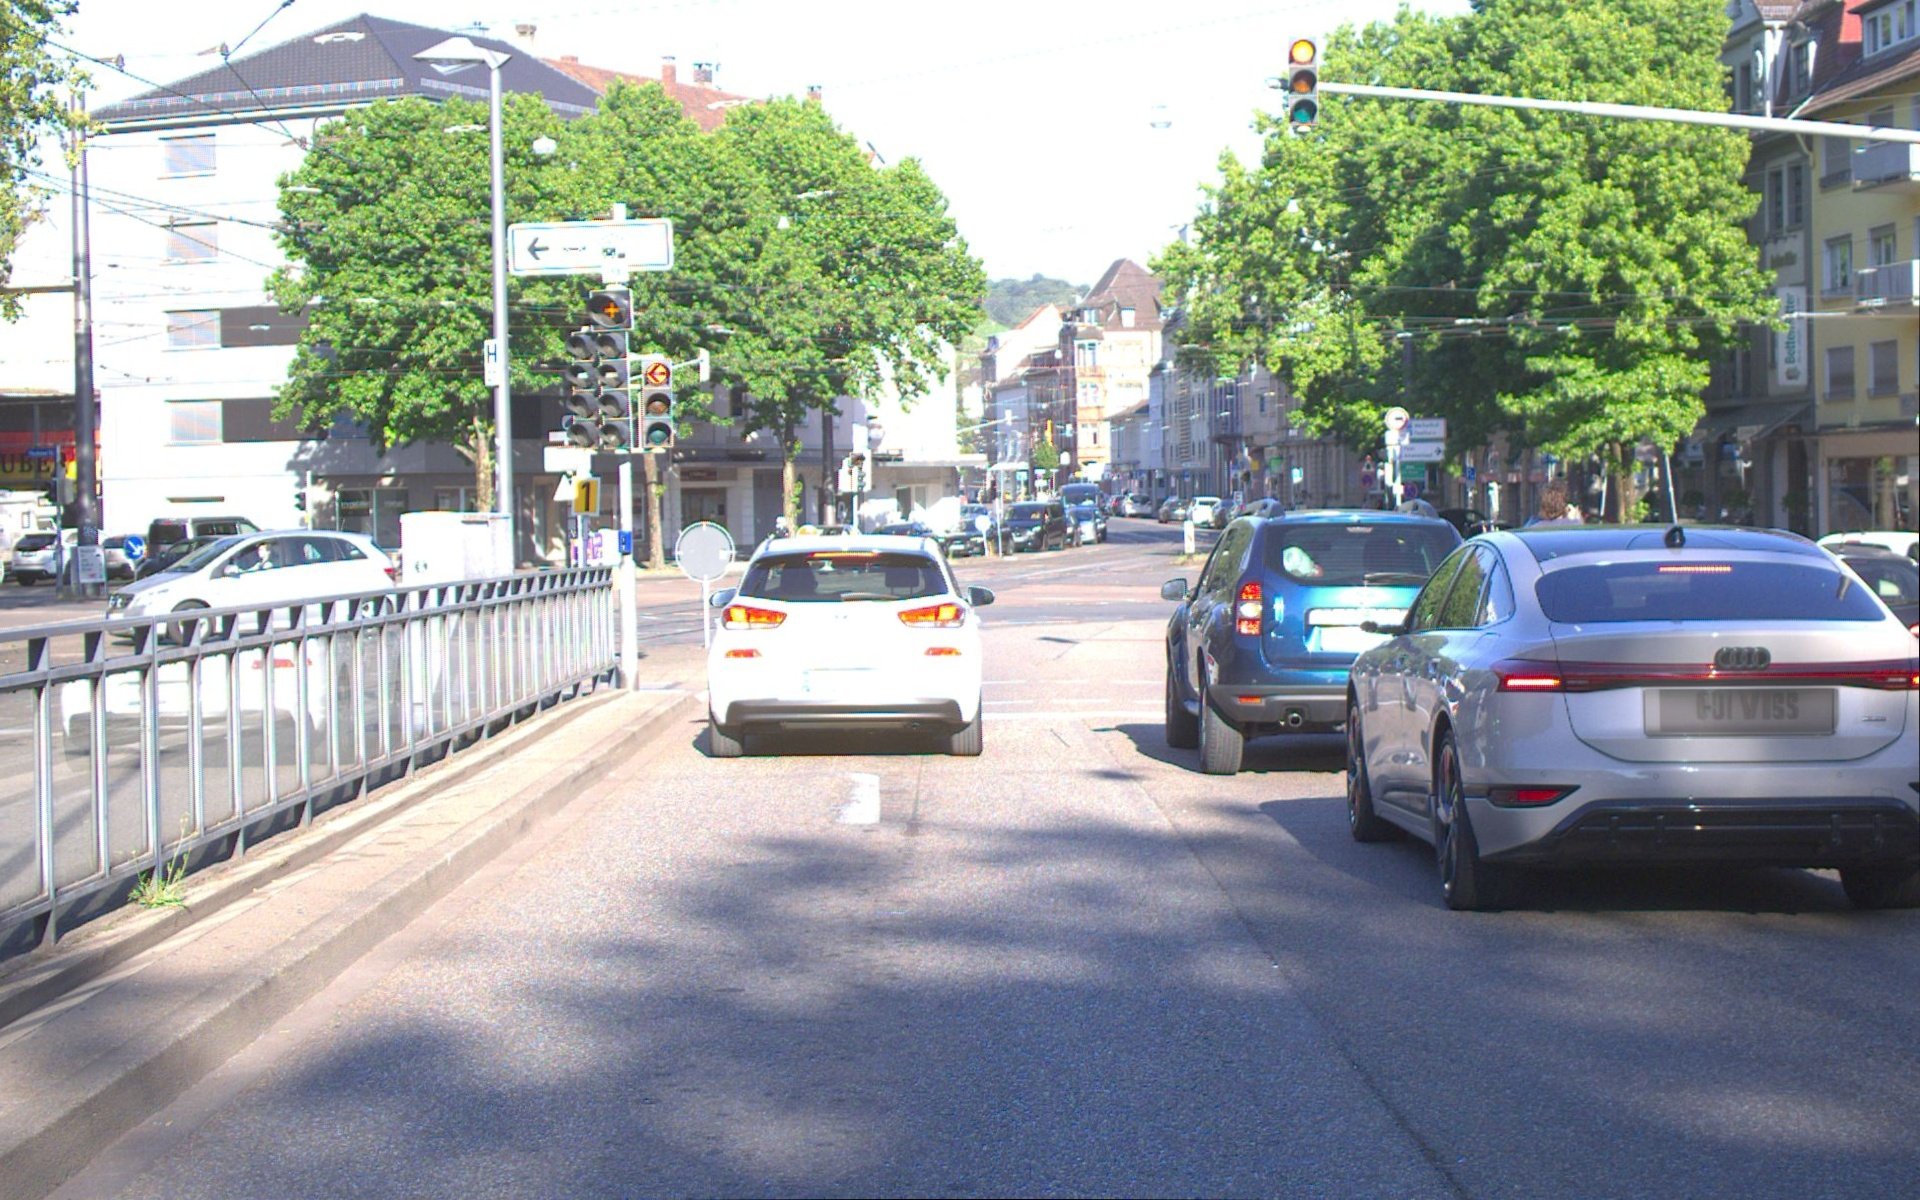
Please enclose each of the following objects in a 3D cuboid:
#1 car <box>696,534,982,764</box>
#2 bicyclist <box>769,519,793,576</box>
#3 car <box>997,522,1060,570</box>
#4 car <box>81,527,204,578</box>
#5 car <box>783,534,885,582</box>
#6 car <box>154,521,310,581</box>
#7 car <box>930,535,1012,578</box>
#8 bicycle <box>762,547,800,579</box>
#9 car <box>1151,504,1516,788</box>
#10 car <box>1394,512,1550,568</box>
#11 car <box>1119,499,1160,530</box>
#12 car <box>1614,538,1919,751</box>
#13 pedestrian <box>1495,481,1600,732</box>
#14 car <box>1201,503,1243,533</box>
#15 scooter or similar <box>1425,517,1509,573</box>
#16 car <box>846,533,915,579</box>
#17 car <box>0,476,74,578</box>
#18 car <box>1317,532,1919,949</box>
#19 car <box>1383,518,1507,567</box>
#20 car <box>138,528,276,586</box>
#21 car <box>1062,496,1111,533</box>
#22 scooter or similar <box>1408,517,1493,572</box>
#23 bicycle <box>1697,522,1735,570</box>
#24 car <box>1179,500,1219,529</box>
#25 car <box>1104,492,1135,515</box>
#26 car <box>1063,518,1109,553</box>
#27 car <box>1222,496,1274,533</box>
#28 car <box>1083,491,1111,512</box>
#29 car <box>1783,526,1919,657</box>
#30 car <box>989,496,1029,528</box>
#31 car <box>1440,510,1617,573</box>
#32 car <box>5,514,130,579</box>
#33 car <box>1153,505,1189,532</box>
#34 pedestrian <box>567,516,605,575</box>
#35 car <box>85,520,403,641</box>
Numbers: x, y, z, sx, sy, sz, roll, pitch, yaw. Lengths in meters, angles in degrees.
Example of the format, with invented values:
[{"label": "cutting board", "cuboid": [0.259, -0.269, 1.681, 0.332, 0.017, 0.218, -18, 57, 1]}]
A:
[{"label": "car", "cuboid": [-0.800, 0.270, 23.702, 1.808, 1.447, 4.000, 0, 1, -1]}, {"label": "bicyclist", "cuboid": [-5.522, -1.624, 106.042, 0.468, 1.739, 0.716, 0, 1, 23]}, {"label": "car", "cuboid": [2.641, -2.085, 131.892, 1.795, 1.820, 3.999, 0, 1, 10]}, {"label": "car", "cuboid": [-24.772, -1.457, 104.288, 1.796, 1.505, 4.007, 0, 1, 18]}, {"label": "car", "cuboid": [-4.018, -1.354, 110.418, 1.726, 1.505, 3.871, -1, 1, 24]}, {"label": "car", "cuboid": [-18.641, -1.262, 87.960, 3.996, 1.505, 1.796, 1, 1, 40]}, {"label": "car", "cuboid": [0.431, -1.568, 124.466, 1.796, 1.505, 3.996, -1, 1, 18]}, {"label": "bicycle", "cuboid": [-5.518, -1.133, 106.049, 0.468, 0.953, 1.765, 0, 1, 23]}, {"label": "car", "cuboid": [2.270, 0.221, 21.847, 1.800, 1.632, 4.045, 0, 1, -1]}, {"label": "car", "cuboid": [14.280, -1.690, 96.001, 3.986, 1.505, 1.800, -1, 1, -6]}, {"label": "car", "cuboid": [11.711, -5.596, 225.046, 2.327, 2.007, 4.977, -1, 1, -1]}, {"label": "car", "cuboid": [6.202, 0.272, 25.665, 1.800, 1.434, 4.045, 1, 1, -1]}, {"label": "pedestrian", "cuboid": [4.448, 0.042, 26.060, 0.657, 1.864, 0.678, -1, 1, -1]}, {"label": "car", "cuboid": [13.299, -4.175, 174.640, 1.794, 1.505, 4.000, -1, 1, -1]}, {"label": "scooter or similar", "cuboid": [11.805, -1.280, 80.060, 1.949, 1.276, 0.552, 0, 2, 41]}, {"label": "car", "cuboid": [-2.673, -1.472, 116.408, 1.794, 1.505, 3.999, -1, 1, 6]}, {"label": "car", "cuboid": [-30.433, -2.242, 106.174, 2.499, 3.154, 6.528, 0, 1, 22]}, {"label": "car", "cuboid": [2.766, 0.452, 14.678, 1.929, 1.467, 4.855, 0, 1, -1]}, {"label": "car", "cuboid": [15.571, -1.842, 110.334, 3.989, 1.505, 1.799, -2, 2, -42]}, {"label": "car", "cuboid": [-22.385, -1.284, 102.273, 1.797, 1.643, 4.004, 0, 1, 29]}, {"label": "car", "cuboid": [5.364, -3.644, 146.484, 1.794, 1.505, 4.001, -1, 1, -2]}, {"label": "scooter or similar", "cuboid": [11.345, -1.280, 79.510, 1.949, 1.276, 0.552, 0, 2, 41]}, {"label": "bicycle", "cuboid": [17.514, -1.255, 79.685, 0.609, 1.104, 1.800, -1, 1, 4]}, {"label": "car", "cuboid": [12.553, -4.480, 180.797, 1.794, 1.505, 4.000, -1, 1, -1]}, {"label": "car", "cuboid": [10.695, -6.456, 230.500, 1.794, 1.505, 4.000, -1, 1, -1]}, {"label": "car", "cuboid": [5.653, -2.905, 154.486, 1.794, 1.505, 4.001, -1, 1, -2]}, {"label": "car", "cuboid": [14.067, -4.177, 168.110, 2.105, 1.770, 4.342, -1, 1, -1]}, {"label": "car", "cuboid": [9.990, -7.158, 250.322, 1.794, 1.505, 4.000, -1, 1, -1]}, {"label": "car", "cuboid": [12.347, -0.151, 42.953, 3.987, 1.505, 1.800, -2, 3, -34]}, {"label": "car", "cuboid": [2.387, -4.337, 169.391, 1.794, 1.505, 4.001, -1, 1, -2]}, {"label": "car", "cuboid": [14.144, -1.466, 85.655, 3.986, 1.505, 1.801, -1, 1, -9]}, {"label": "car", "cuboid": [-27.284, -1.659, 105.186, 1.796, 1.949, 3.997, 0, 1, 18]}, {"label": "car", "cuboid": [12.278, -4.739, 200.034, 1.794, 1.517, 4.000, -1, 1, -1]}, {"label": "pedestrian", "cuboid": [-11.250, -1.639, 103.327, 0.837, 1.765, 0.781, 0, 1, 25]}, {"label": "car", "cuboid": [-10.369, -0.302, 49.876, 4.147, 1.686, 1.821, -1, 1, -34]}]
